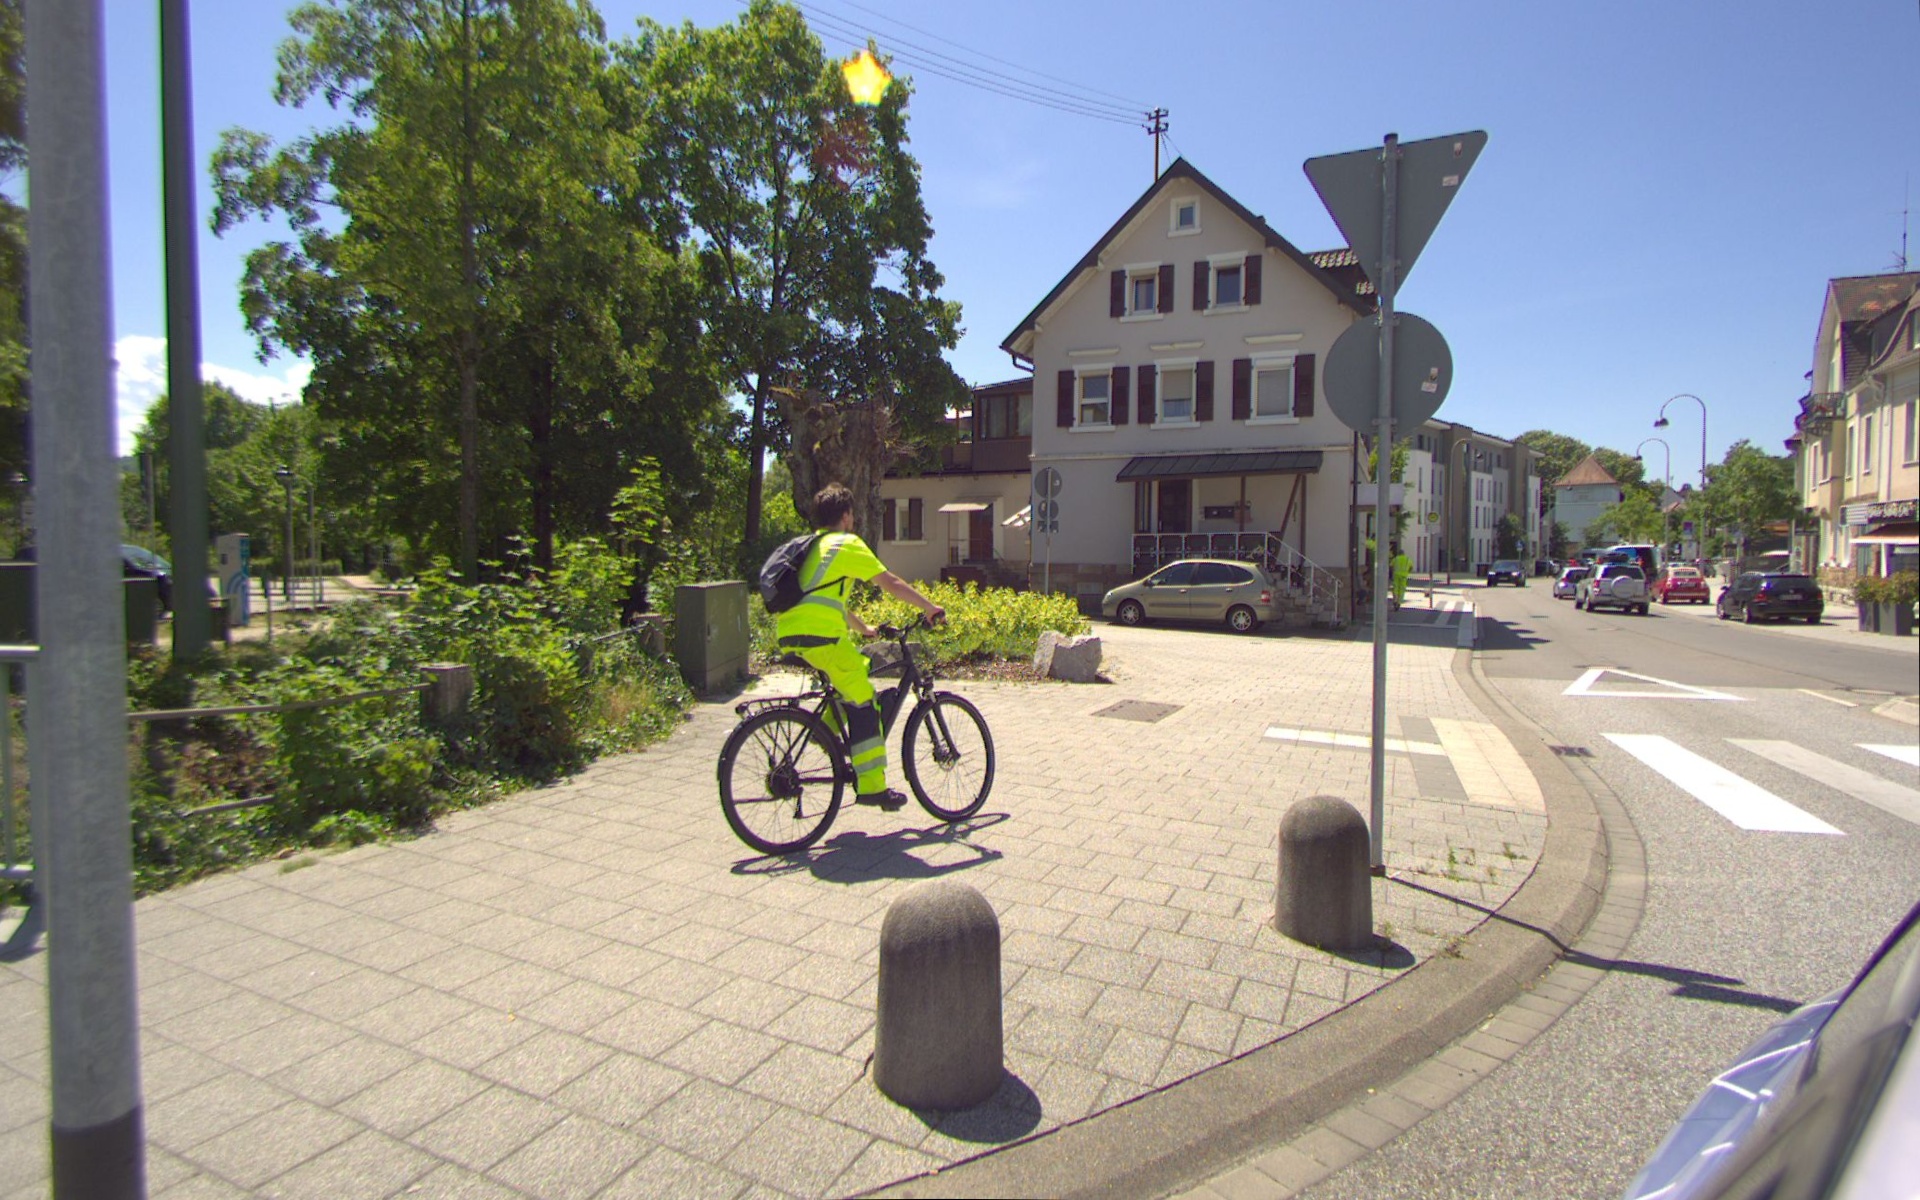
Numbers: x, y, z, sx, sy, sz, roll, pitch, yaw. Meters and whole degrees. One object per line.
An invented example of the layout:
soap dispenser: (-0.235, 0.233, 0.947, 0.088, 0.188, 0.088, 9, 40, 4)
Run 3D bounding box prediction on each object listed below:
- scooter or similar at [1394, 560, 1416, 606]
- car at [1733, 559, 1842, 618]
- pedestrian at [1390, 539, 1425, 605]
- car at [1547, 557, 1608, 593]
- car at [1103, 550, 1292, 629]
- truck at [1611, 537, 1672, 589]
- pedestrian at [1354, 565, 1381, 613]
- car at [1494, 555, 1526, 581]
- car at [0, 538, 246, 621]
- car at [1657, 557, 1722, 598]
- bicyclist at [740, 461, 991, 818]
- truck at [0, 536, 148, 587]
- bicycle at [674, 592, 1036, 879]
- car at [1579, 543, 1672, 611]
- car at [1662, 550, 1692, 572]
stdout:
scooter or similar: (13.962, -0.546, 31.767, 0.521, 1.389, 1.338, 1, 3, 21)
car: (23.950, -0.371, 29.423, 1.667, 1.565, 3.910, 0, 2, 28)
pedestrian: (14.034, -0.898, 31.785, 0.910, 2.054, 0.894, 1, 3, 21)
car: (27.933, -1.151, 45.898, 1.663, 1.475, 3.570, 3, 4, 21)
car: (5.508, -0.284, 23.515, 3.961, 1.616, 1.779, 3, 2, 27)
truck: (32.926, -1.807, 48.965, 1.943, 2.399, 4.297, -1, 2, 28)
pedestrian: (11.398, -0.321, 28.315, 0.677, 1.301, 0.577, 1, 2, 22)
car: (35.531, -2.067, 65.363, 1.739, 1.565, 3.559, 0, 2, 29)
car: (-17.420, -0.442, 20.932, 3.918, 1.621, 1.846, 0, 2, -8)
car: (29.820, -0.928, 41.460, 1.667, 1.565, 3.561, 0, 2, 28)
bicyclist: (-0.492, 0.151, 5.348, 0.808, 1.655, 1.046, 4, 4, 43)
truck: (-45.703, -1.982, 51.953, 6.103, 2.474, 2.264, -2, 1, -36)
bicycle: (-0.491, 0.585, 5.356, 0.808, 1.169, 1.823, 4, 4, 43)
car: (22.742, -0.858, 34.758, 1.911, 2.133, 4.413, 3, 4, 25)
car: (55.213, -3.011, 77.906, 1.675, 1.565, 3.544, 0, 2, 39)
